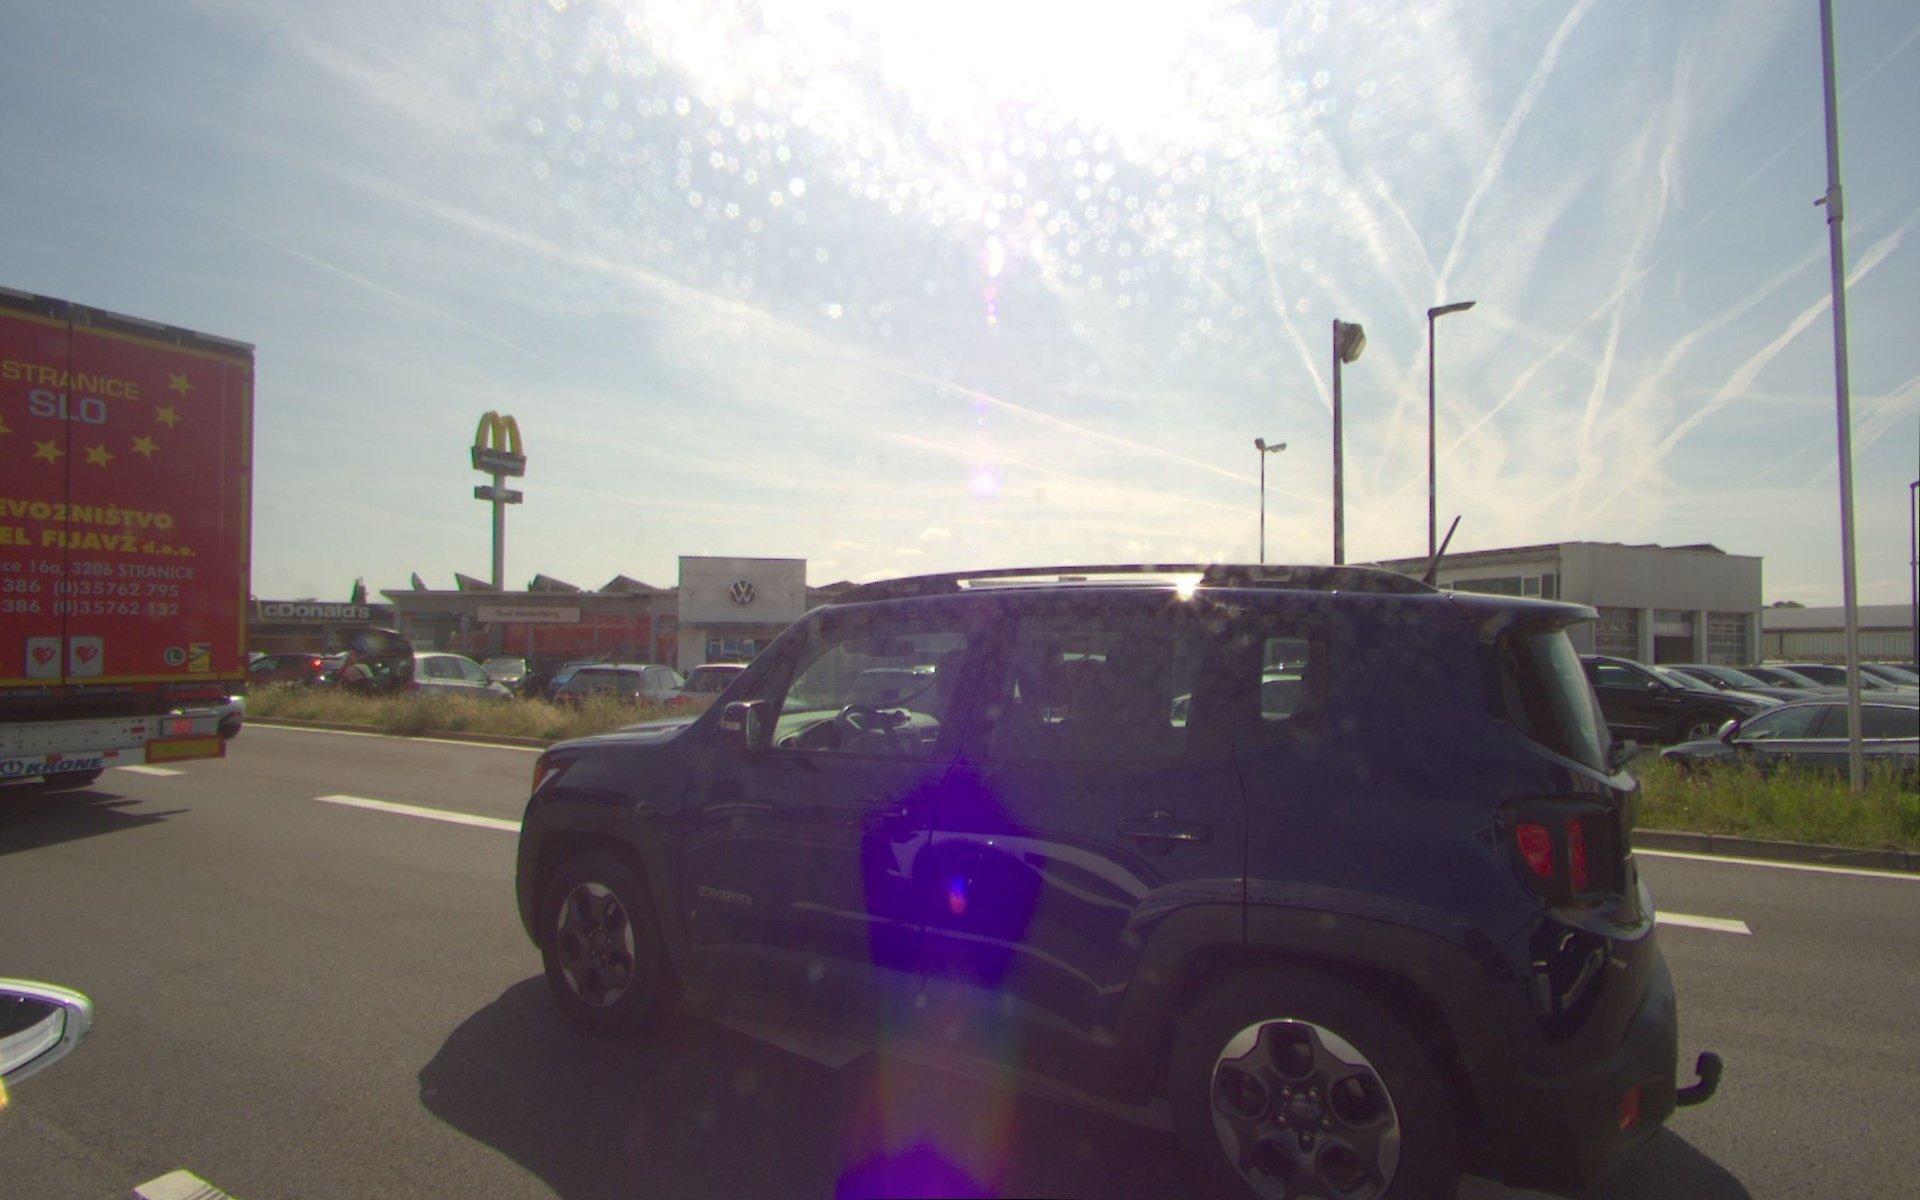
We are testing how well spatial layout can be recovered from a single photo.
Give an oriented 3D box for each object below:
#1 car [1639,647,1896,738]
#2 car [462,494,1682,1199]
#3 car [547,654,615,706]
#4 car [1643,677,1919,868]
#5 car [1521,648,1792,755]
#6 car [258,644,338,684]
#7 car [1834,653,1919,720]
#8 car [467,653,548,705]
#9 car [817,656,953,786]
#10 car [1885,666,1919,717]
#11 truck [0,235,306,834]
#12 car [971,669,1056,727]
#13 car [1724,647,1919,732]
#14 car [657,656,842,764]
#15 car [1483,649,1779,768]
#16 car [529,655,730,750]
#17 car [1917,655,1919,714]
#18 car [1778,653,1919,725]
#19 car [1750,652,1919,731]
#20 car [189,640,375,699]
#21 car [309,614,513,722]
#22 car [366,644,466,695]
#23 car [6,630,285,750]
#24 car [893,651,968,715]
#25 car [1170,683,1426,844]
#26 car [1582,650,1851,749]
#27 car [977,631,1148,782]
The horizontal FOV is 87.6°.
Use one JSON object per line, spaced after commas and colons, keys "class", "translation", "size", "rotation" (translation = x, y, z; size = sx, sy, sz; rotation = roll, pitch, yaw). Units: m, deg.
{"class": "car", "translation": [18.150, 2.000, 22.680], "size": [1.960, 1.812, 4.202], "rotation": [2, -3, -37]}
{"class": "car", "translation": [0.158, 0.694, 3.708], "size": [3.943, 1.707, 1.816], "rotation": [-1, -1, 32]}
{"class": "car", "translation": [-12.681, 2.628, 33.686], "size": [1.671, 1.577, 3.783], "rotation": [1, -2, -14]}
{"class": "car", "translation": [8.622, 1.513, 9.200], "size": [1.705, 1.420, 4.350], "rotation": [1, -2, 0]}
{"class": "car", "translation": [13.484, 1.880, 19.637], "size": [4.175, 1.812, 1.973], "rotation": [-1, -3, 35]}
{"class": "car", "translation": [-27.267, 2.605, 41.377], "size": [1.656, 1.550, 3.593], "rotation": [1, -2, -15]}
{"class": "car", "translation": [26.817, 2.375, 27.271], "size": [1.883, 1.777, 4.208], "rotation": [2, -3, -32]}
{"class": "car", "translation": [-15.050, 2.588, 33.508], "size": [1.771, 1.550, 4.222], "rotation": [1, -2, -15]}
{"class": "car", "translation": [-0.963, 1.650, 14.727], "size": [1.705, 1.555, 4.040], "rotation": [1, -2, 0]}
{"class": "car", "translation": [28.931, 2.621, 28.206], "size": [1.688, 1.438, 3.975], "rotation": [2, -3, -34]}
{"class": "truck", "translation": [-13.632, -0.363, 11.960], "size": [16.341, 4.324, 2.953], "rotation": [-1, -2, 31]}
{"class": "car", "translation": [1.586, 3.010, 31.326], "size": [1.706, 1.555, 4.036], "rotation": [1, -2, -11]}
{"class": "car", "translation": [20.737, 2.035, 23.435], "size": [1.960, 1.812, 4.202], "rotation": [2, -3, -37]}
{"class": "car", "translation": [-3.200, 1.649, 16.027], "size": [1.670, 1.417, 3.847], "rotation": [0, -2, 8]}
{"class": "car", "translation": [11.783, 1.809, 17.854], "size": [4.175, 1.812, 1.973], "rotation": [-1, -3, 35]}
{"class": "car", "translation": [-5.748, 1.742, 17.945], "size": [1.670, 1.417, 3.845], "rotation": [0, -2, 13]}
{"class": "car", "translation": [31.143, 2.553, 29.300], "size": [1.882, 1.777, 4.209], "rotation": [2, -3, -32]}
{"class": "car", "translation": [24.423, 2.310, 26.294], "size": [1.883, 1.777, 4.208], "rotation": [2, -3, -32]}
{"class": "car", "translation": [22.624, 2.236, 24.995], "size": [1.883, 1.777, 4.208], "rotation": [2, -3, -32]}
{"class": "car", "translation": [-19.178, 1.953, 28.458], "size": [3.922, 1.550, 2.001], "rotation": [1, -2, 2]}
{"class": "car", "translation": [-10.862, 1.303, 20.157], "size": [1.669, 1.945, 3.848], "rotation": [0, -2, 6]}
{"class": "car", "translation": [-17.827, 2.248, 33.020], "size": [1.964, 1.550, 3.996], "rotation": [1, -2, -15]}
{"class": "car", "translation": [-11.533, 1.172, 14.141], "size": [3.938, 1.491, 1.658], "rotation": [-1, -1, 28]}
{"class": "car", "translation": [-0.983, 2.646, 31.418], "size": [1.706, 1.550, 3.773], "rotation": [1, -11, -12]}
{"class": "car", "translation": [3.823, 1.808, 12.081], "size": [1.705, 1.420, 4.040], "rotation": [1, -2, 0]}
{"class": "car", "translation": [15.926, 1.998, 21.274], "size": [1.960, 1.812, 4.202], "rotation": [2, -3, -37]}
{"class": "car", "translation": [1.113, 1.194, 12.523], "size": [1.705, 1.555, 4.040], "rotation": [1, -2, 0]}
